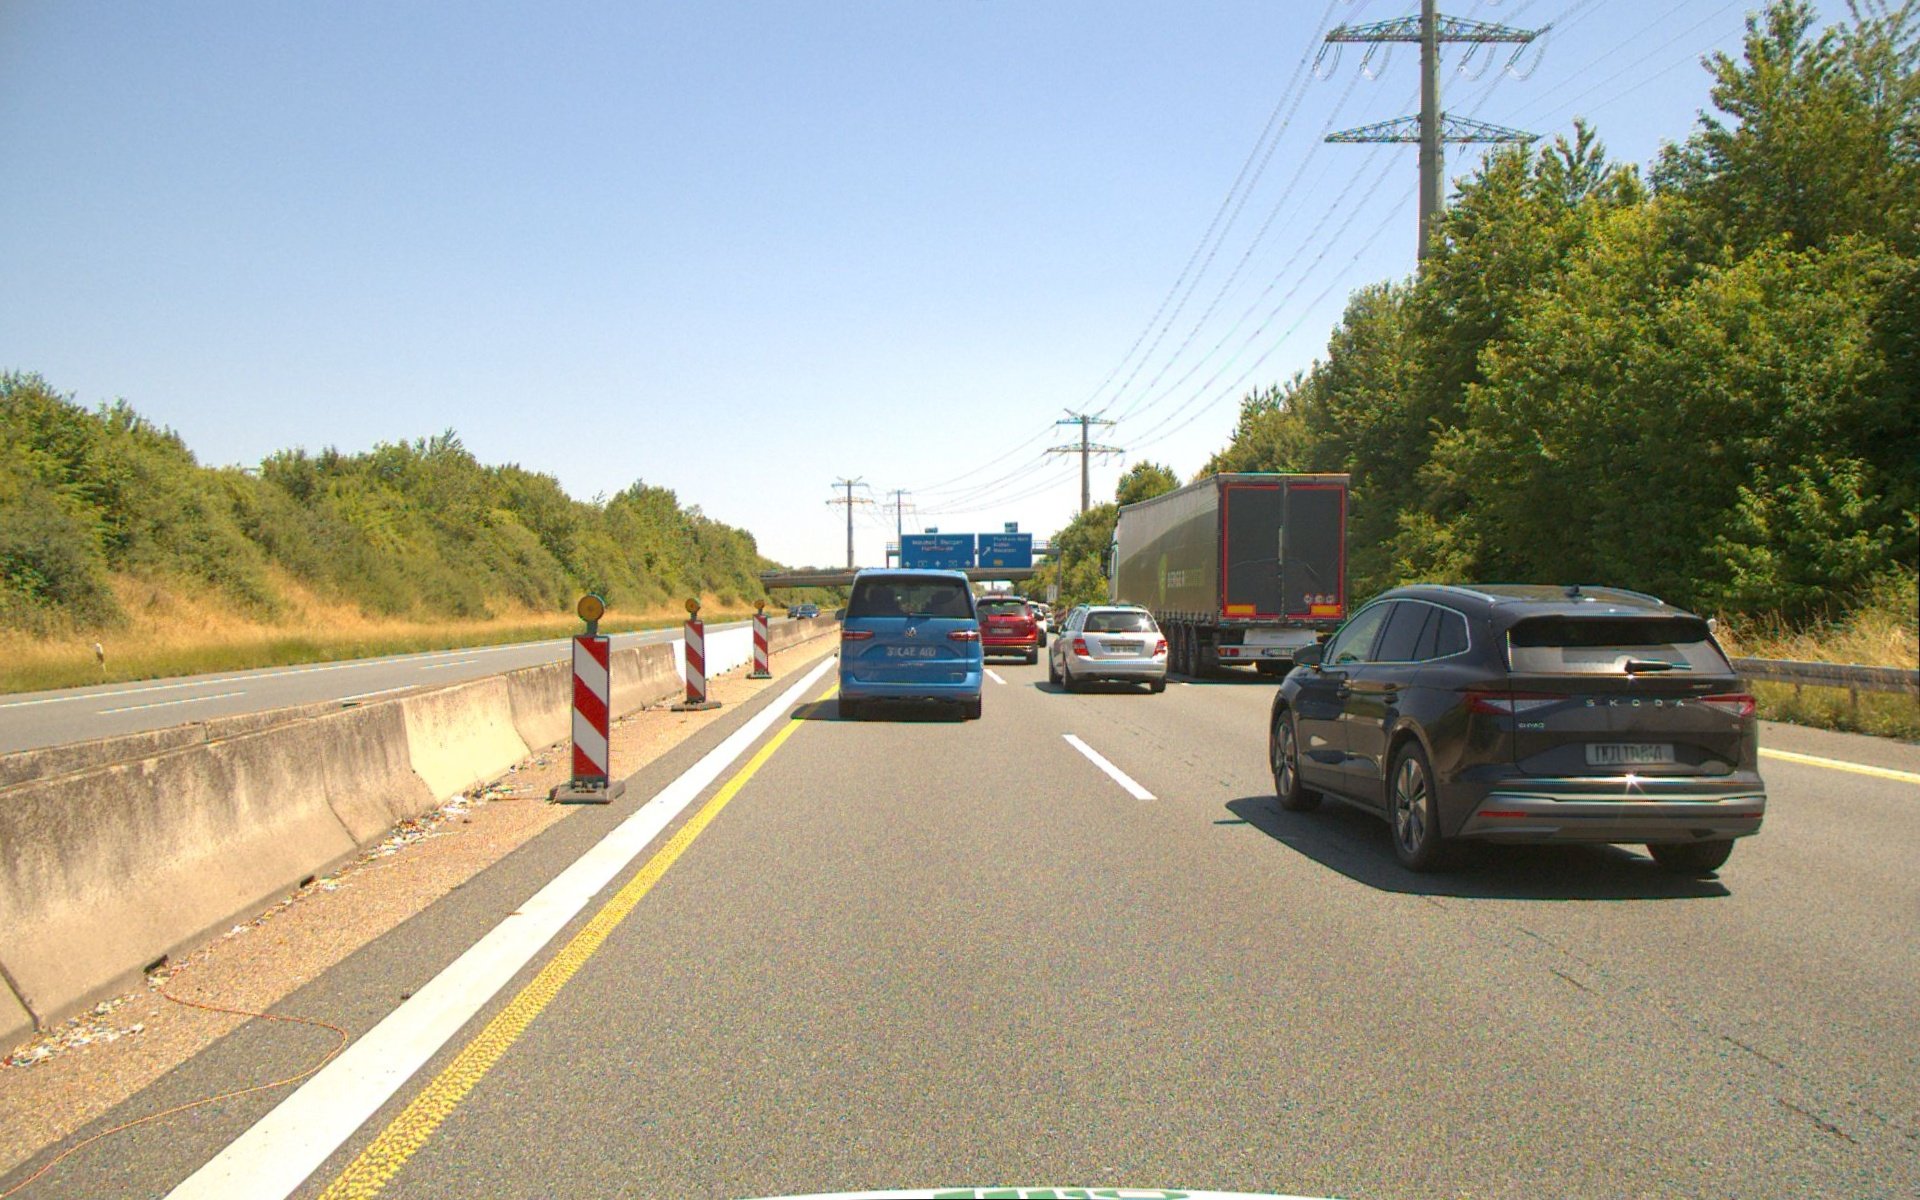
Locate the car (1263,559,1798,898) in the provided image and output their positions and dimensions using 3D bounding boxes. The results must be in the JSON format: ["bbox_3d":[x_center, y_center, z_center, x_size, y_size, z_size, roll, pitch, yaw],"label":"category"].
[{"bbox_3d":[3.293,0.664,10.559,1.667,1.684,4.427,1,0,-3],"label":"car"}]

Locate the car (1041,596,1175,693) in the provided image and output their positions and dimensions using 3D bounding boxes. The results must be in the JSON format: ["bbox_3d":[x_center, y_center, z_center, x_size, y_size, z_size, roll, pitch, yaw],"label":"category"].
[{"bbox_3d":[2.523,0.742,29.171,1.735,1.544,4.357,1,0,-3],"label":"car"}]

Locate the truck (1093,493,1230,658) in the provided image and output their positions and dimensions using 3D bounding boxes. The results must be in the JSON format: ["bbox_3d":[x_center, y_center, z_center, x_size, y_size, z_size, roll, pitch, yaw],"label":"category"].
[{"bbox_3d":[5.328,-0.605,44.618,2.678,4.118,5.790,1,0,-3],"label":"truck"}]

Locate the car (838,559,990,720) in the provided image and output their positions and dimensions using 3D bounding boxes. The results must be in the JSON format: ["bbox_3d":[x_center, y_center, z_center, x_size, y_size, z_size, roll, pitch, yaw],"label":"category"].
[{"bbox_3d":[-0.677,0.495,22.532,1.837,1.945,4.357,1,0,-3],"label":"car"}]

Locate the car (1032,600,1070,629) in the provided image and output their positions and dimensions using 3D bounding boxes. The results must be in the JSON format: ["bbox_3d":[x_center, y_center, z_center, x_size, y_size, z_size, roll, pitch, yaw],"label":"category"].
[{"bbox_3d":[4.811,0.787,88.218,1.666,1.473,3.786,1,0,-2],"label":"car"}]

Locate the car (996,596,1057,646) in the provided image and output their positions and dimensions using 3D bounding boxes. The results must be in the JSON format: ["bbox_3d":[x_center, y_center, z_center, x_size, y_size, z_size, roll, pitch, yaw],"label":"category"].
[{"bbox_3d":[2.261,0.718,57.228,1.761,1.622,4.225,1,0,-2],"label":"car"}]

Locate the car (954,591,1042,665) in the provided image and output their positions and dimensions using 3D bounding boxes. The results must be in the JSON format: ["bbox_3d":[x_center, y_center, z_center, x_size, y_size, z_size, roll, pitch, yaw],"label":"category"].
[{"bbox_3d":[0.886,0.668,41.286,1.837,1.700,4.357,1,0,-3],"label":"car"}]

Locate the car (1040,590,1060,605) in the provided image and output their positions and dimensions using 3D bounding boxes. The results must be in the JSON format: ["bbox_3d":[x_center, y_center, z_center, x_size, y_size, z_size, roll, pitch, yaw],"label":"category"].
[{"bbox_3d":[10.447,-0.252,192.813,1.837,1.700,4.357,1,0,-3],"label":"car"}]

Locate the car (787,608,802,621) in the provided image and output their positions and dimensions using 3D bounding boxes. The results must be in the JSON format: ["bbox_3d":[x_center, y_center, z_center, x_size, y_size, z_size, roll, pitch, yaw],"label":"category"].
[{"bbox_3d":[-20.375,1.751,203.974,1.674,1.490,3.847,-2,0,-3],"label":"car"}]

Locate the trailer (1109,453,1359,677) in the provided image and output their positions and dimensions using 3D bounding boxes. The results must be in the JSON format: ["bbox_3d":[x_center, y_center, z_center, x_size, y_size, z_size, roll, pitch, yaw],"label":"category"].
[{"bbox_3d":[5.718,-0.613,37.407,2.728,4.118,13.103,1,0,-3],"label":"trailer"}]

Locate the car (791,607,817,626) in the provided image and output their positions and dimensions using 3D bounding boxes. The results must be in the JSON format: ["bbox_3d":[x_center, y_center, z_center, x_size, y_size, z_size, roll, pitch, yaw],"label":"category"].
[{"bbox_3d":[-12.665,1.317,134.360,1.825,1.516,4.491,-1,0,-2],"label":"car"}]
